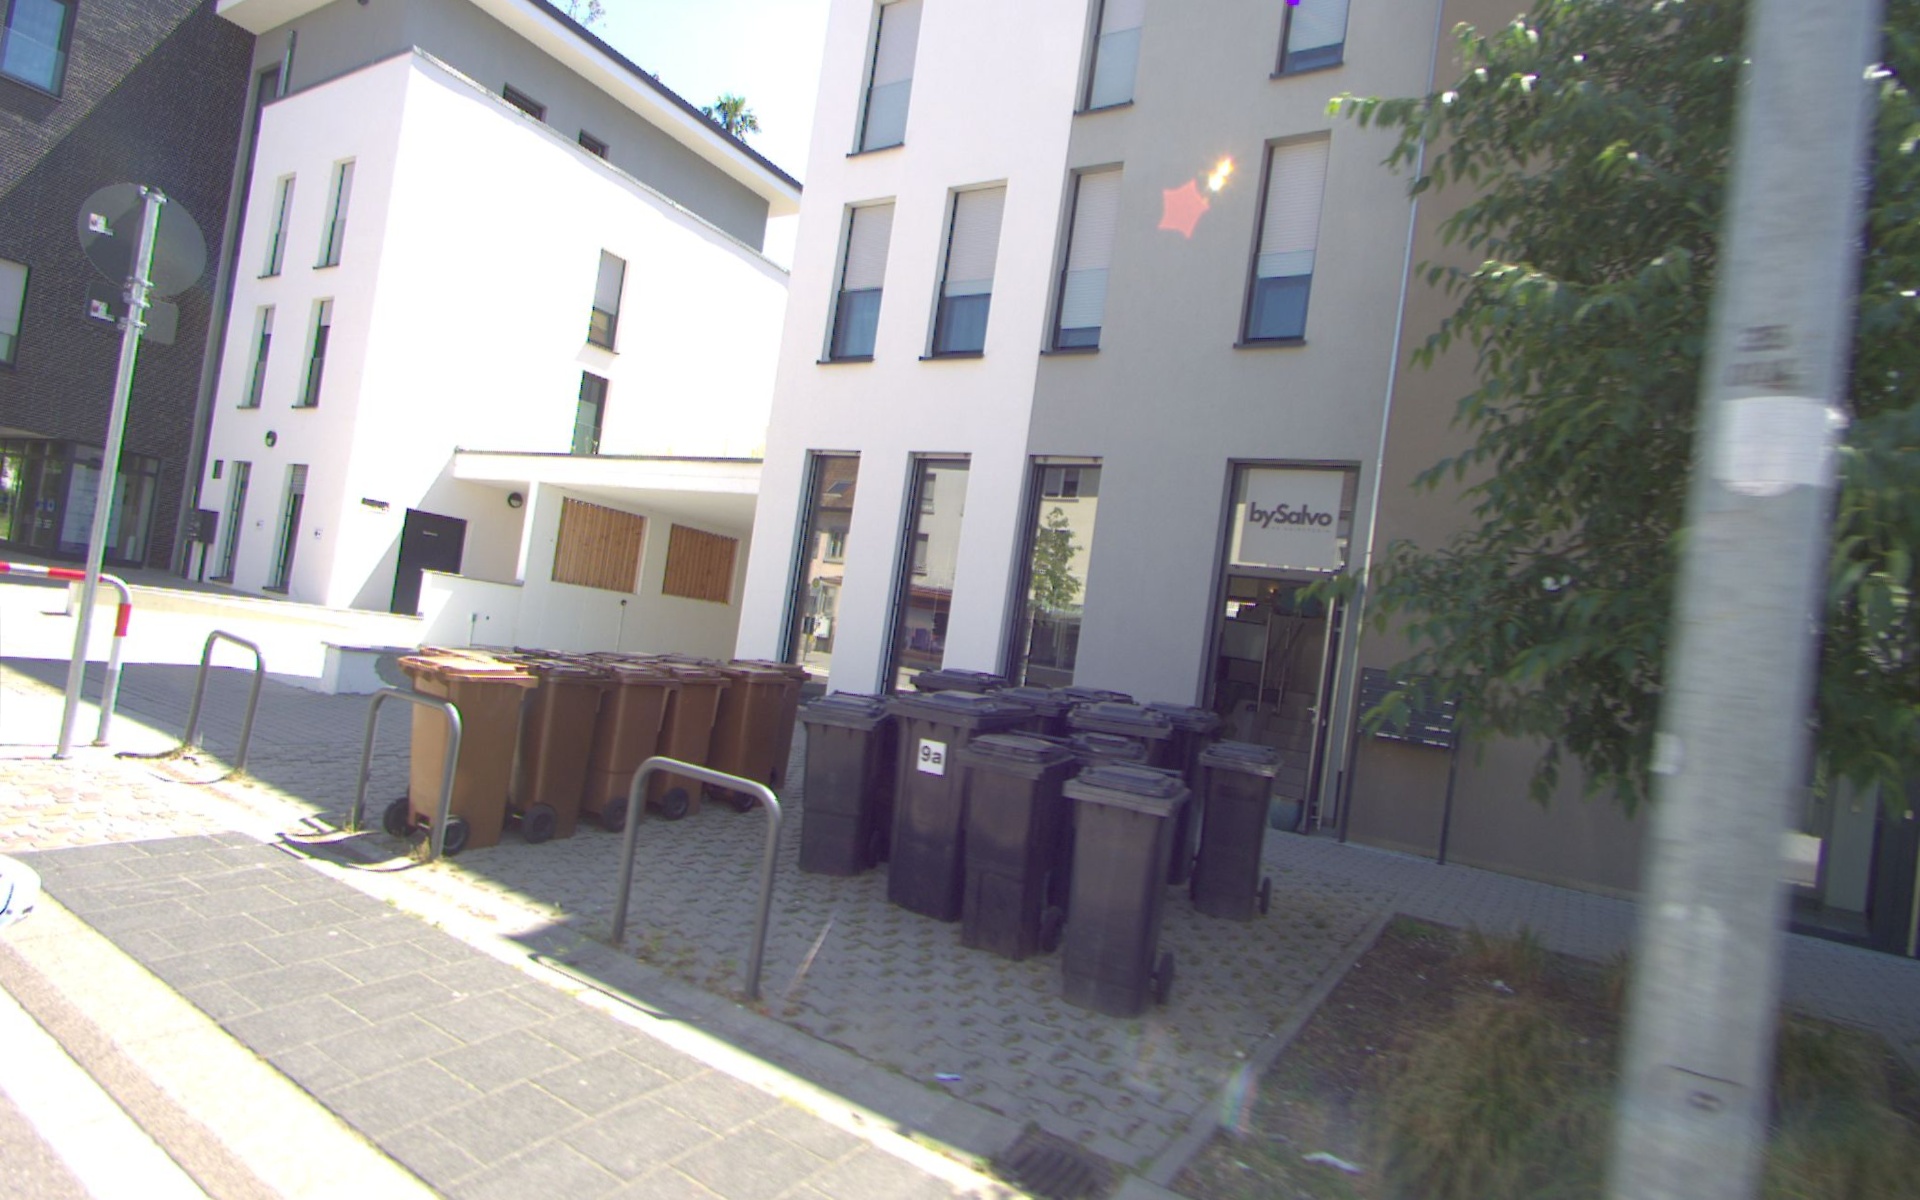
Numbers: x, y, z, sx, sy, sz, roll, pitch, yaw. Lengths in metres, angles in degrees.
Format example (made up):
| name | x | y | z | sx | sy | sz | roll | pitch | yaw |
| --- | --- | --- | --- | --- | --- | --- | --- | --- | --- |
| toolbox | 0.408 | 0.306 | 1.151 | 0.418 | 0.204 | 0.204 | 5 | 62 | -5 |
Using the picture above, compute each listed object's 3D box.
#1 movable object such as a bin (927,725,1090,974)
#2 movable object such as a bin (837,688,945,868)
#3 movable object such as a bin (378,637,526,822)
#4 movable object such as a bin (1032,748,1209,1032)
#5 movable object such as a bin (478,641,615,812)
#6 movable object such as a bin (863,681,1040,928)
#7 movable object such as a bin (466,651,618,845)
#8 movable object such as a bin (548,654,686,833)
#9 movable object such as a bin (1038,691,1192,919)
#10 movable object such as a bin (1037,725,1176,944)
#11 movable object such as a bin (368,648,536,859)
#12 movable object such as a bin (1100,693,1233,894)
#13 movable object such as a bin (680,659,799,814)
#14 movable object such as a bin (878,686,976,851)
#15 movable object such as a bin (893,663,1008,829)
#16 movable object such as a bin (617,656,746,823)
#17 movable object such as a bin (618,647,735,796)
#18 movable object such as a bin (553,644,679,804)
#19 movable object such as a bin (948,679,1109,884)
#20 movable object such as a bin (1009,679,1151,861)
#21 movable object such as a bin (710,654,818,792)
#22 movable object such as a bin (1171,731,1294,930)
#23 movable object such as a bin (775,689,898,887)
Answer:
| name | x | y | z | sx | sy | sz | roll | pitch | yaw |
| --- | --- | --- | --- | --- | --- | --- | --- | --- | --- |
| movable object such as a bin | 0.225 | 1.073 | 4.491 | 0.457 | 0.942 | 0.513 | 7 | 0 | 27 |
| movable object such as a bin | -0.398 | 1.025 | 5.929 | 0.429 | 0.935 | 0.483 | 7 | 0 | 10 |
| movable object such as a bin | -2.899 | 0.724 | 5.750 | 0.520 | 0.942 | 0.474 | 7 | 0 | 33 |
| movable object such as a bin | 0.662 | 1.121 | 4.064 | 0.457 | 0.942 | 0.562 | 7 | 0 | 27 |
| movable object such as a bin | -2.544 | 0.765 | 6.199 | 0.520 | 0.942 | 0.474 | 7 | 0 | 33 |
| movable object such as a bin | -0.035 | 0.978 | 5.026 | 0.551 | 1.073 | 0.569 | 7 | 0 | 34 |
| movable object such as a bin | -2.288 | 0.791 | 5.519 | 0.520 | 0.942 | 0.467 | 7 | 0 | 33 |
| movable object such as a bin | -2.024 | 0.829 | 5.946 | 0.514 | 0.942 | 0.465 | 7 | 0 | 33 |
| movable object such as a bin | 0.875 | 1.092 | 5.585 | 0.613 | 1.073 | 0.648 | 7 | 0 | 21 |
| movable object such as a bin | 0.743 | 1.143 | 5.044 | 0.459 | 0.942 | 0.485 | 7 | 0 | 27 |
| movable object such as a bin | -2.566 | 0.750 | 5.085 | 0.520 | 0.942 | 0.474 | 7 | 0 | 33 |
| movable object such as a bin | 1.304 | 1.170 | 6.291 | 0.613 | 1.073 | 0.648 | 7 | 0 | 21 |
| movable object such as a bin | -1.493 | 0.906 | 6.825 | 0.514 | 0.942 | 0.465 | 7 | 0 | 33 |
| movable object such as a bin | -0.200 | 1.051 | 6.404 | 0.429 | 0.935 | 0.483 | 7 | 0 | 10 |
| movable object such as a bin | -0.056 | 1.011 | 7.166 | 0.550 | 1.054 | 0.571 | 7 | 0 | 19 |
| movable object such as a bin | -1.761 | 0.863 | 6.369 | 0.514 | 0.942 | 0.465 | 7 | 0 | 33 |
| movable object such as a bin | -1.991 | 0.841 | 7.070 | 0.520 | 0.942 | 0.474 | 7 | 0 | 33 |
| movable object such as a bin | -2.270 | 0.804 | 6.646 | 0.520 | 0.942 | 0.474 | 7 | 0 | 33 |
| movable object such as a bin | 0.421 | 1.057 | 6.082 | 0.615 | 1.073 | 0.646 | 7 | 0 | 34 |
| movable object such as a bin | 0.820 | 1.110 | 6.793 | 0.615 | 1.073 | 0.646 | 7 | 0 | 34 |
| movable object such as a bin | -1.475 | 0.914 | 7.586 | 0.520 | 0.942 | 0.474 | 7 | 0 | 33 |
| movable object such as a bin | 1.524 | 1.251 | 5.602 | 0.457 | 0.942 | 0.562 | 7 | 0 | 27 |
| movable object such as a bin | -0.656 | 0.988 | 5.441 | 0.429 | 0.935 | 0.517 | 7 | 0 | 10 |
